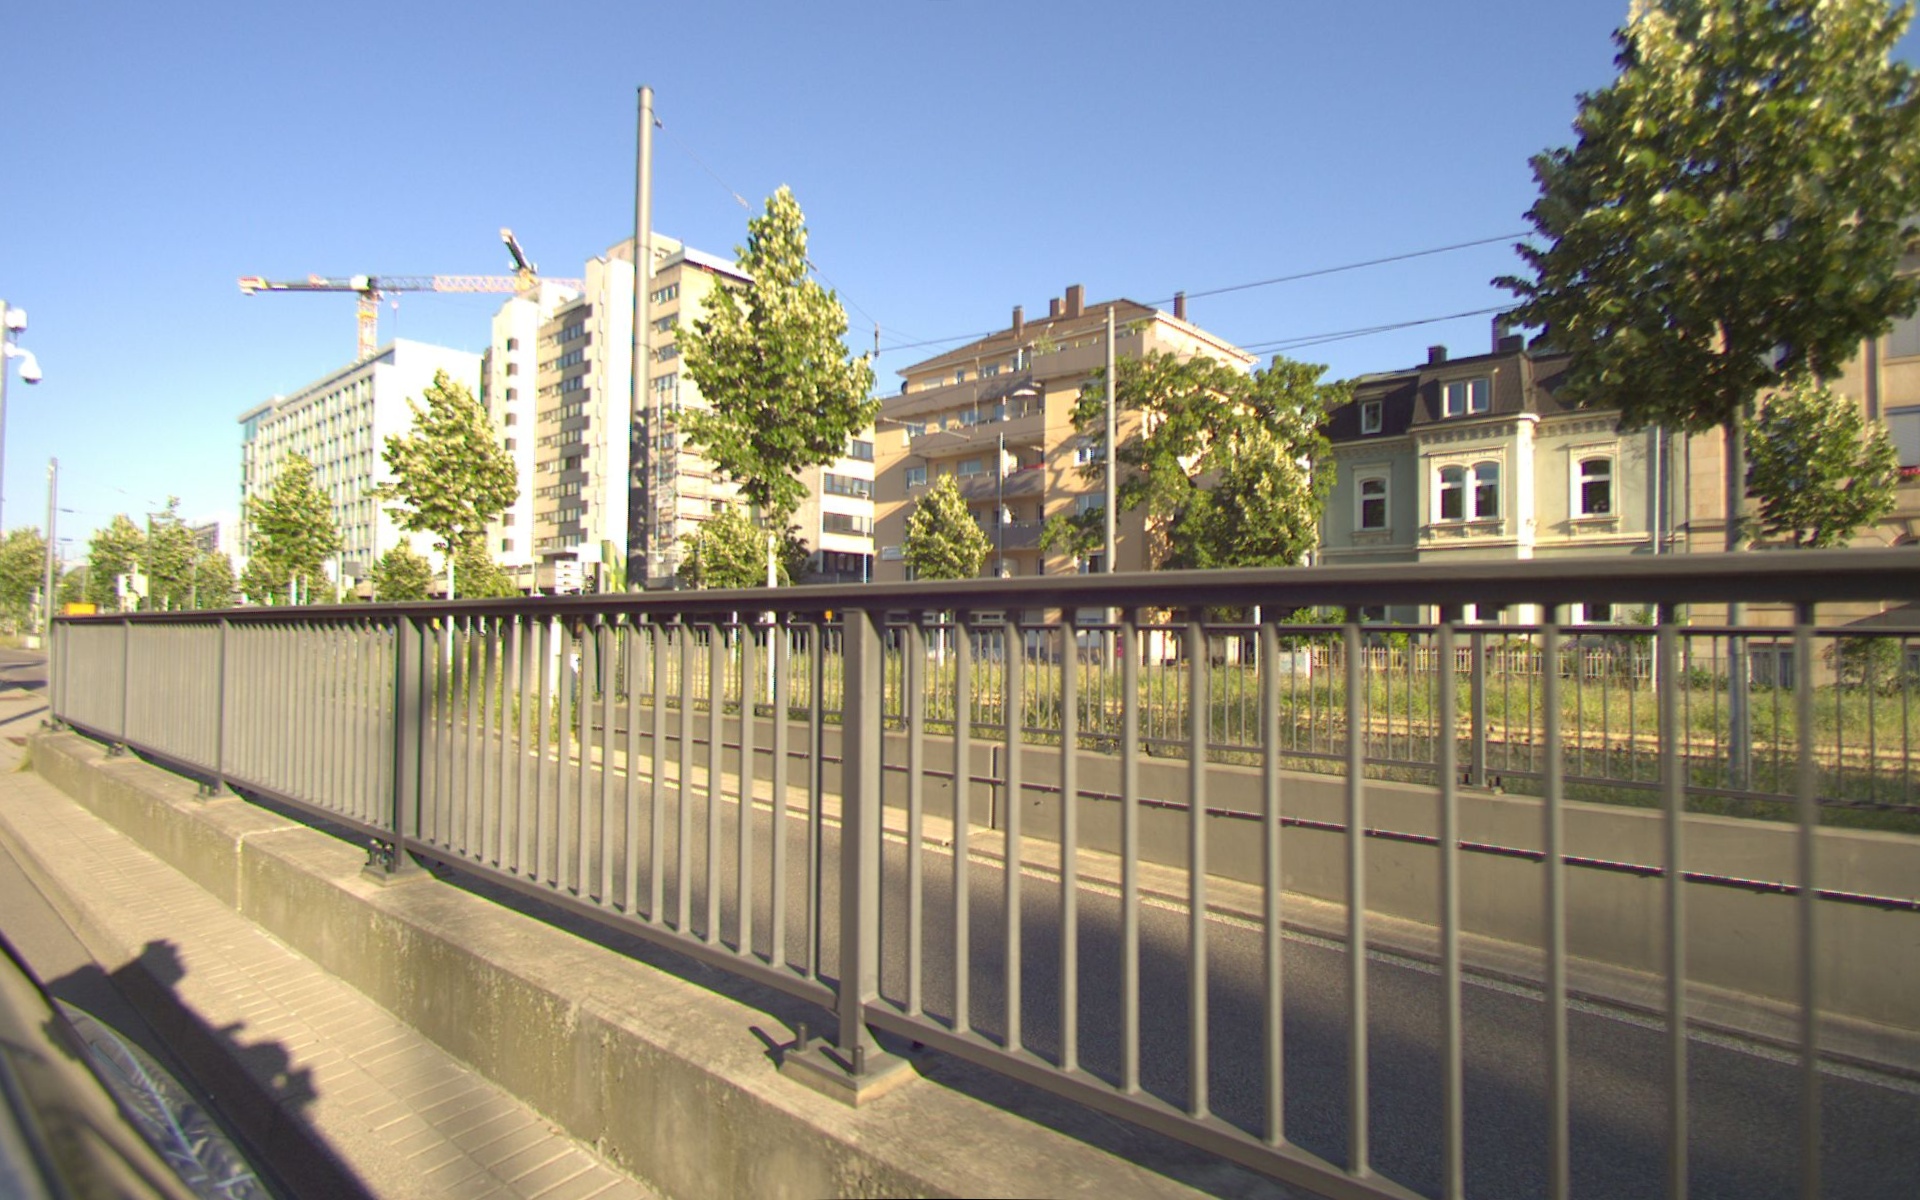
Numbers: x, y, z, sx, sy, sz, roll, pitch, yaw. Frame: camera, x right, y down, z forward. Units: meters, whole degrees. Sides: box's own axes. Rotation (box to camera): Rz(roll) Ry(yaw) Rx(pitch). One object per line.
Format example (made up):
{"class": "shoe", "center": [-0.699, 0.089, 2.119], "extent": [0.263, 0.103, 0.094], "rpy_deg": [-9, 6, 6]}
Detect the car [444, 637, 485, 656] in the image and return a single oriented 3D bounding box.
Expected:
{"class": "car", "center": [-38.857, 3.642, 79.431], "extent": [1.598, 1.283, 3.467], "rpy_deg": [-1, 0, -2]}

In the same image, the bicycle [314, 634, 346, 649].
{"class": "bicycle", "center": [-38.416, 2.515, 61.730], "extent": [2.015, 0.898, 0.503], "rpy_deg": [0, -2, 19]}

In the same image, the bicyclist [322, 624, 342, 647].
{"class": "bicyclist", "center": [-38.176, 2.141, 61.524], "extent": [0.710, 1.405, 0.732], "rpy_deg": [0, -2, 18]}

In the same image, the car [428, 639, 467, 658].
{"class": "car", "center": [-42.614, 4.021, 84.207], "extent": [1.598, 1.413, 3.467], "rpy_deg": [-1, 0, -2]}

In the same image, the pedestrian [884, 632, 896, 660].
{"class": "pedestrian", "center": [-3.989, 2.620, 57.374], "extent": [0.520, 1.567, 0.442], "rpy_deg": [-2, -3, 41]}

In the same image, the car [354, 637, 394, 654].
{"class": "car", "center": [-54.956, 4.252, 95.009], "extent": [1.598, 1.455, 3.794], "rpy_deg": [-1, 0, -1]}

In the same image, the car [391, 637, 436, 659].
{"class": "car", "center": [-47.473, 4.135, 88.014], "extent": [1.599, 1.703, 4.195], "rpy_deg": [-1, 0, 1]}

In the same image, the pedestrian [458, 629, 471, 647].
{"class": "pedestrian", "center": [-45.959, 3.546, 93.835], "extent": [0.882, 1.652, 0.766], "rpy_deg": [-1, -3, 41]}

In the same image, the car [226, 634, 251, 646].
{"class": "car", "center": [-88.925, 4.917, 124.720], "extent": [3.389, 1.477, 1.849], "rpy_deg": [-1, -1, 42]}

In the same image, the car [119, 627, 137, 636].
{"class": "car", "center": [-152.292, 5.797, 185.216], "extent": [4.638, 1.600, 1.849], "rpy_deg": [-1, -1, 43]}

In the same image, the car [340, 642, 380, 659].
{"class": "car", "center": [-57.279, 4.835, 96.648], "extent": [1.763, 1.455, 3.804], "rpy_deg": [-1, 0, -3]}

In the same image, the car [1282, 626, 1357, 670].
{"class": "car", "center": [17.579, 2.330, 49.411], "extent": [2.000, 2.062, 3.942], "rpy_deg": [-2, -3, 43]}

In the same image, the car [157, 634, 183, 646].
{"class": "car", "center": [-99.338, 5.008, 127.277], "extent": [4.660, 1.474, 1.757], "rpy_deg": [-1, -2, 41]}

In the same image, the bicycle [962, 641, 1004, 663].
{"class": "bicycle", "center": [1.216, 2.805, 55.053], "extent": [2.585, 1.145, 0.525], "rpy_deg": [-2, -3, 42]}
